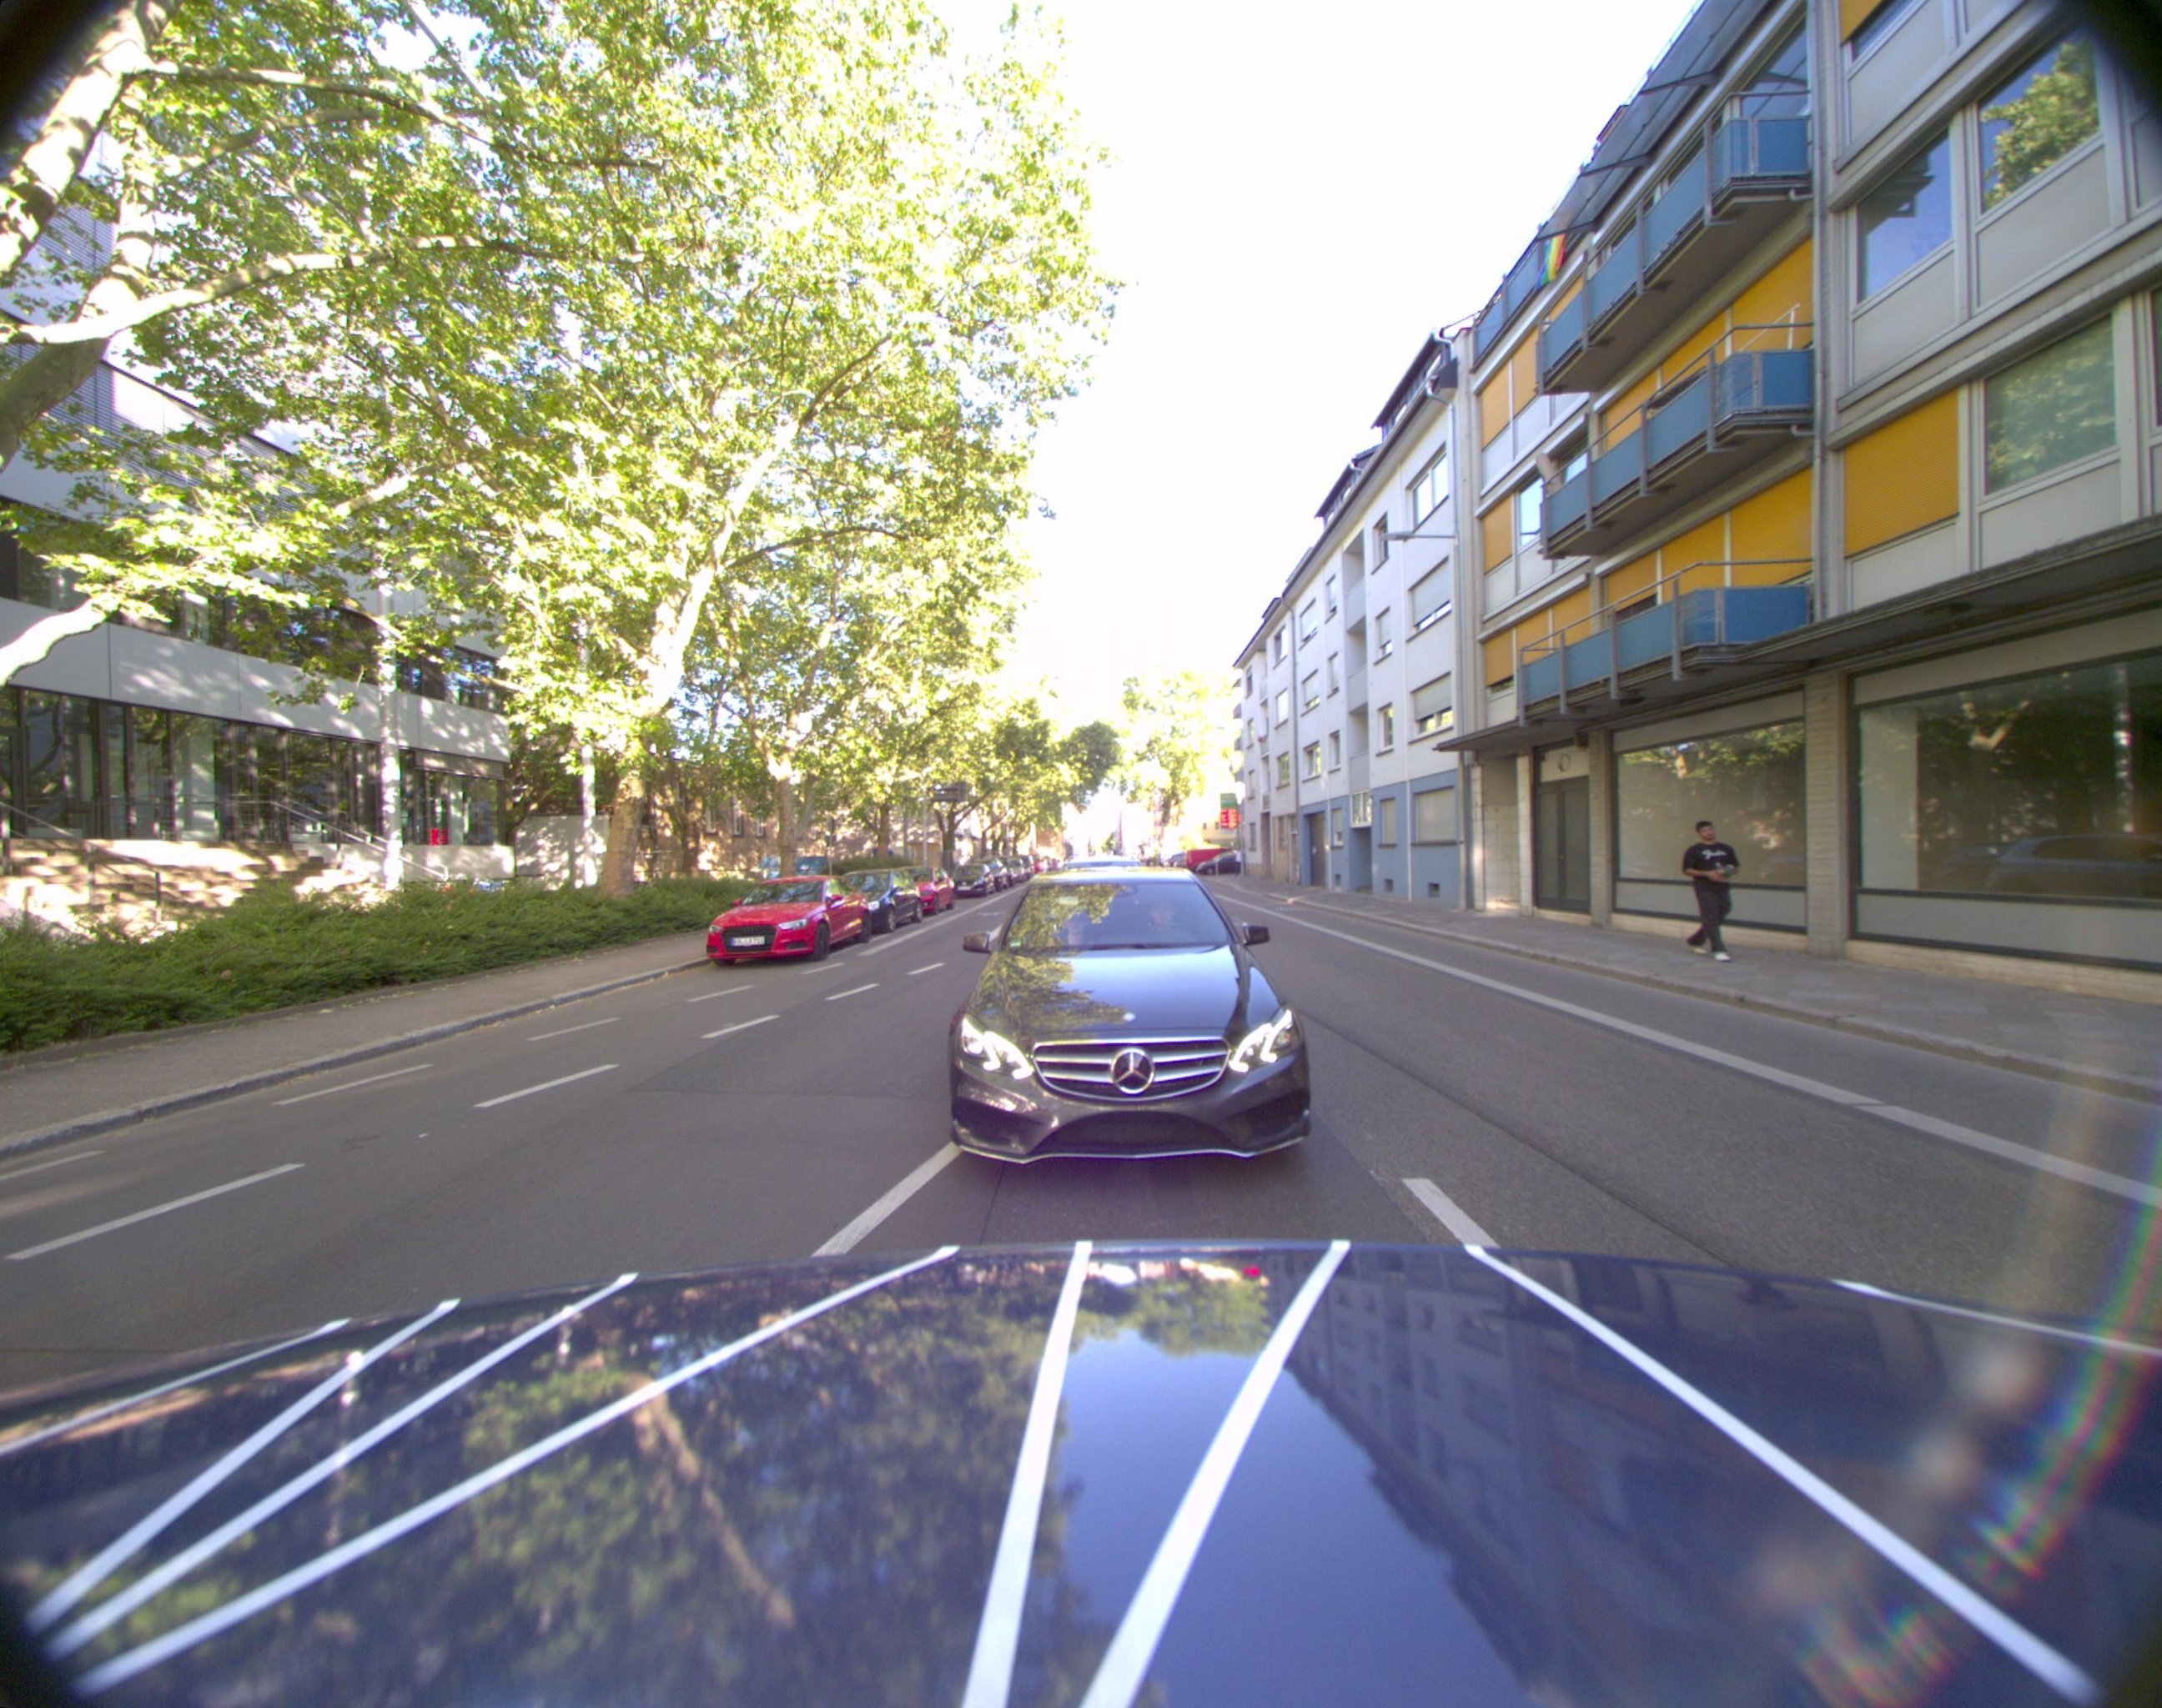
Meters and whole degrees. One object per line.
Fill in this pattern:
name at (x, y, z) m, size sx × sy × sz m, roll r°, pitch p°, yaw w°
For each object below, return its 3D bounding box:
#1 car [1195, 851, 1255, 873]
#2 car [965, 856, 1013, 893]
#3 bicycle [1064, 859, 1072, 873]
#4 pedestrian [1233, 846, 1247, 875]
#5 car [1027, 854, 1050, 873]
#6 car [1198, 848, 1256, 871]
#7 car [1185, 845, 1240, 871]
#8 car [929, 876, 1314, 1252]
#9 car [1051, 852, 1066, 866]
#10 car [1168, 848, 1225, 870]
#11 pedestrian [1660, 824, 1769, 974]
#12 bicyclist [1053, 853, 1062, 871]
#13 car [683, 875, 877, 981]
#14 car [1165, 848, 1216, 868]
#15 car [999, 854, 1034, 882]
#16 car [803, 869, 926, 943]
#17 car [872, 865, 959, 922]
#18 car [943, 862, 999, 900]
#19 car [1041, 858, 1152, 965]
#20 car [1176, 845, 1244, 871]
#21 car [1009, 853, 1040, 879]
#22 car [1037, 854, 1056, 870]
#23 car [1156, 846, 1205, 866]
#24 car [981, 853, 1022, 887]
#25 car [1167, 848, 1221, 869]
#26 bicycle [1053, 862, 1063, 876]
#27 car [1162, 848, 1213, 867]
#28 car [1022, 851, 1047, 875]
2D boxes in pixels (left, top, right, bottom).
car at (10.354, 0.573, 54.774) m, size 3.997 × 1.412 × 1.743 m, roll -1°, pitch 0°, yaw 1°
car at (-4.566, 0.981, 38.258) m, size 1.755 × 1.644 × 4.174 m, roll -3°, pitch 0°, yaw 1°
bicycle at (-1.072, 0.955, 61.001) m, size 0.574 × 1.053 × 1.595 m, roll -1°, pitch 0°, yaw 1°
pedestrian at (9.506, 0.386, 45.520) m, size 0.608 × 1.737 × 0.756 m, roll -2°, pitch 1°, yaw 1°
car at (-4.004, 0.909, 72.169) m, size 1.755 × 1.652 × 4.447 m, roll -3°, pitch 0°, yaw 1°
car at (10.910, 0.403, 56.985) m, size 3.997 × 1.552 × 1.743 m, roll -1°, pitch 0°, yaw 1°
car at (10.329, 0.312, 60.074) m, size 3.997 × 1.926 × 1.867 m, roll -1°, pitch 0°, yaw 1°
car at (0.206, 0.989, 5.351) m, size 1.667 × 1.499 × 4.000 m, roll -1°, pitch 0°, yaw 1°
car at (-3.015, 0.657, 103.197) m, size 1.755 × 1.652 × 4.447 m, roll -3°, pitch 0°, yaw 1°
car at (11.098, 0.455, 73.515) m, size 5.143 × 1.926 × 2.187 m, roll -1°, pitch 0°, yaw 1°
pedestrian at (7.858, 0.536, 9.460) m, size 0.663 × 1.761 × 0.793 m, roll -2°, pitch 1°, yaw 1°
bicyclist at (-1.869, 0.641, 61.232) m, size 0.650 × 1.427 × 0.741 m, roll -1°, pitch 1°, yaw 1°
car at (-5.130, 1.186, 13.591) m, size 1.755 × 1.400 × 4.000 m, roll -3°, pitch 0°, yaw 1°
car at (11.285, 0.385, 78.713) m, size 4.991 × 1.926 × 2.083 m, roll -1°, pitch 0°, yaw 1°
car at (-4.275, 0.886, 50.939) m, size 1.755 × 1.718 × 4.447 m, roll -3°, pitch 0°, yaw 1°
car at (-5.090, 1.177, 18.437) m, size 1.755 × 1.424 × 3.909 m, roll -3°, pitch 0°, yaw 1°
car at (-5.039, 1.150, 23.650) m, size 1.755 × 1.459 × 3.909 m, roll -3°, pitch 0°, yaw 1°
car at (-4.754, 1.123, 33.288) m, size 1.755 × 1.424 × 3.909 m, roll -3°, pitch 0°, yaw 1°
car at (0.266, 0.892, 13.603) m, size 1.667 × 1.563 × 4.000 m, roll -1°, pitch 0°, yaw 1°
car at (10.634, 0.306, 63.099) m, size 5.223 × 1.969 × 2.257 m, roll -1°, pitch 0°, yaw 1°
car at (-4.105, 0.828, 55.750) m, size 1.755 × 1.753 × 4.447 m, roll -3°, pitch 0°, yaw 1°
car at (-3.777, 0.877, 83.509) m, size 1.755 × 1.652 × 4.447 m, roll -3°, pitch 0°, yaw 1°
car at (11.189, 0.214, 85.514) m, size 5.143 × 2.135 × 2.187 m, roll -1°, pitch 0°, yaw 1°
car at (-4.557, 0.876, 44.056) m, size 1.755 × 1.810 × 4.447 m, roll -3°, pitch 0°, yaw 1°
car at (11.271, 0.416, 76.215) m, size 5.054 × 1.926 × 2.161 m, roll -1°, pitch 0°, yaw 1°
bicycle at (-1.854, 1.198, 61.201) m, size 0.650 × 1.053 × 1.595 m, roll -1°, pitch 0°, yaw 1°
car at (11.321, 0.360, 81.178) m, size 5.042 × 1.926 × 2.315 m, roll -1°, pitch 0°, yaw 1°
car at (-3.999, 0.735, 66.383) m, size 1.755 × 1.941 × 4.447 m, roll -3°, pitch 0°, yaw 1°
